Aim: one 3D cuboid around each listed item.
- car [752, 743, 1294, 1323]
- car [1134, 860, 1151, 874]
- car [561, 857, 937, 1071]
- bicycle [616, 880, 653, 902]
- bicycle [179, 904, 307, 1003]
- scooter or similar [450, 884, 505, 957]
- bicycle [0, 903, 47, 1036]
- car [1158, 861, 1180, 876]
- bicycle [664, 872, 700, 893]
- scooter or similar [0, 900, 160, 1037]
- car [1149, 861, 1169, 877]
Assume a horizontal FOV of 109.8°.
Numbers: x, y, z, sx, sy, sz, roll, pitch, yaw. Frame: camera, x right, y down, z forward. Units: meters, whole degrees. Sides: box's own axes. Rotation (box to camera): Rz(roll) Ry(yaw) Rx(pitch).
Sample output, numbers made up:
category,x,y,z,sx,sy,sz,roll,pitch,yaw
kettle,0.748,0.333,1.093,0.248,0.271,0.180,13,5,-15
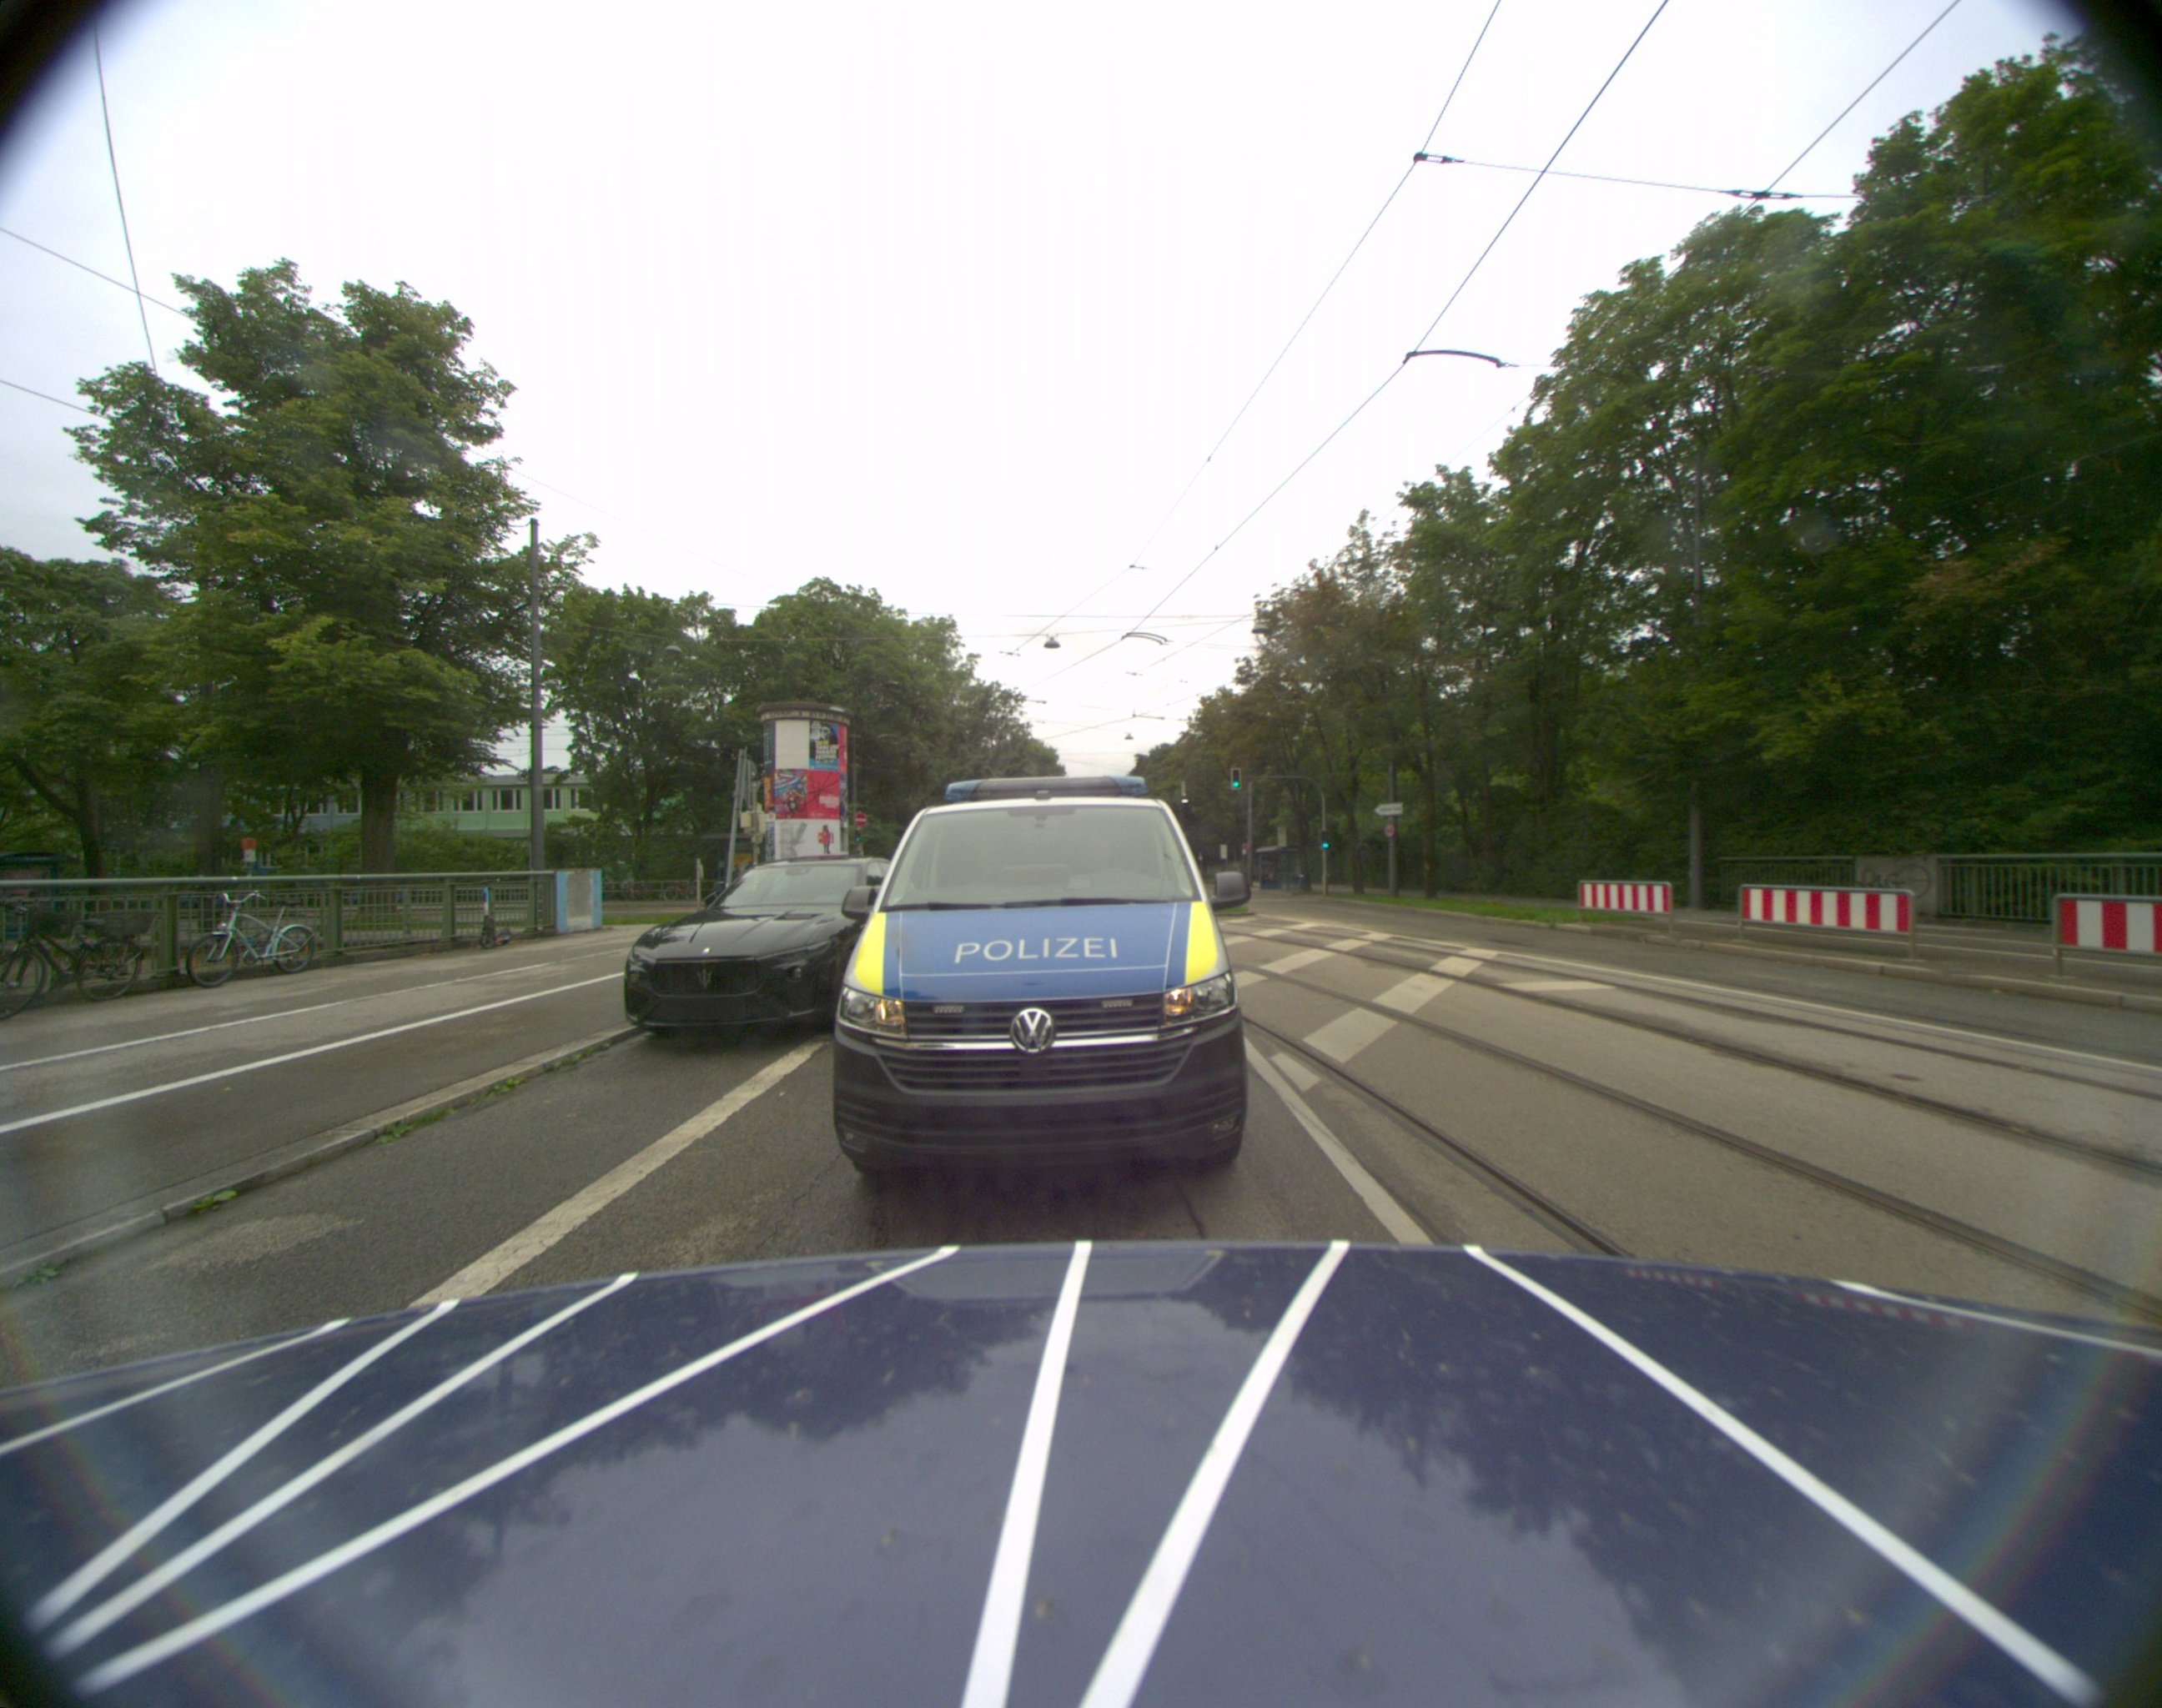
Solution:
category,x,y,z,sx,sy,sz,roll,pitch,yaw
car,-0.245,0.629,5.560,1.903,2.041,5.708,-1,0,-1
car,8.590,1.782,105.738,1.888,1.716,3.999,-3,0,-1
car,-3.048,0.884,8.293,1.905,1.600,4.665,-3,-1,1
bicycle,-20.879,1.725,35.551,1.483,0.946,0.373,-1,1,3
bicycle,-10.749,1.234,9.808,0.265,1.076,1.540,-3,0,-14
scooter or similar,-10.612,1.146,13.389,0.225,1.205,1.020,-3,1,-8
bicycle,-10.600,1.139,7.114,0.283,1.274,1.408,-3,0,-19
car,9.896,1.594,85.712,1.888,1.531,3.999,-3,0,-1
bicycle,-18.629,1.339,35.478,1.483,0.946,0.373,-1,1,3
scooter or similar,-10.596,1.153,8.106,0.245,1.255,1.493,-3,0,-22
car,9.318,1.752,91.074,1.888,1.716,3.999,-3,0,-1
